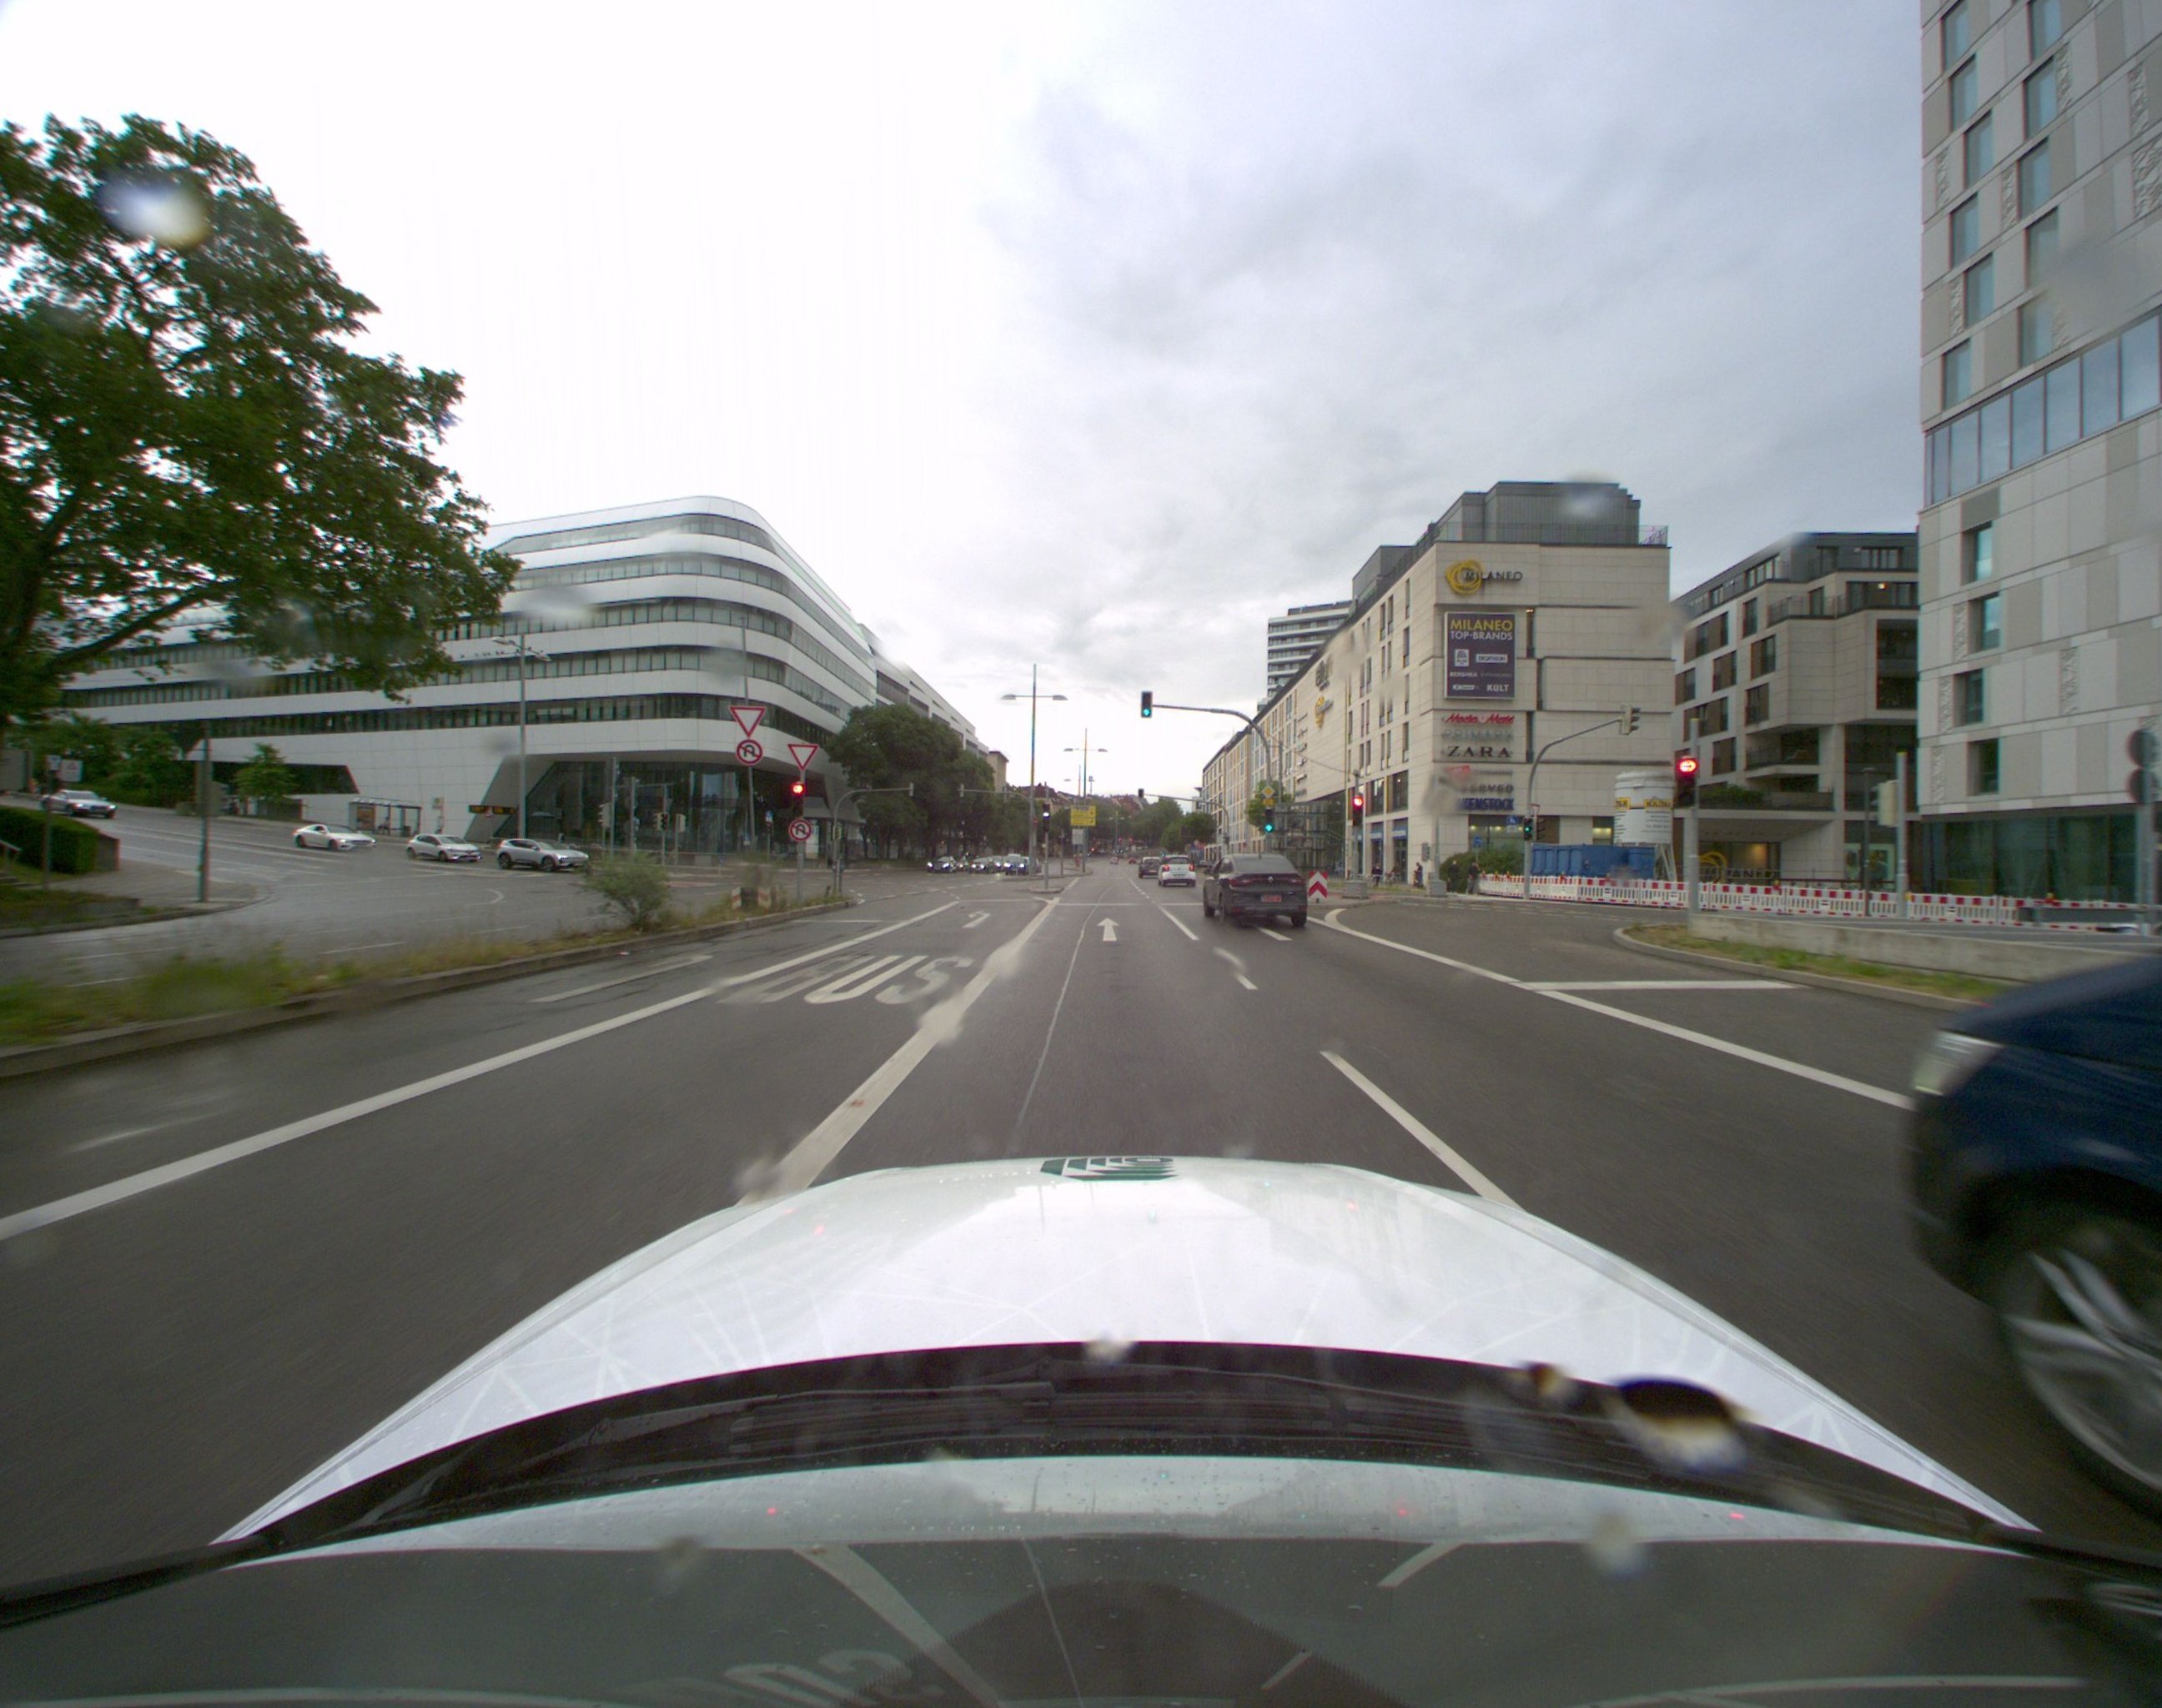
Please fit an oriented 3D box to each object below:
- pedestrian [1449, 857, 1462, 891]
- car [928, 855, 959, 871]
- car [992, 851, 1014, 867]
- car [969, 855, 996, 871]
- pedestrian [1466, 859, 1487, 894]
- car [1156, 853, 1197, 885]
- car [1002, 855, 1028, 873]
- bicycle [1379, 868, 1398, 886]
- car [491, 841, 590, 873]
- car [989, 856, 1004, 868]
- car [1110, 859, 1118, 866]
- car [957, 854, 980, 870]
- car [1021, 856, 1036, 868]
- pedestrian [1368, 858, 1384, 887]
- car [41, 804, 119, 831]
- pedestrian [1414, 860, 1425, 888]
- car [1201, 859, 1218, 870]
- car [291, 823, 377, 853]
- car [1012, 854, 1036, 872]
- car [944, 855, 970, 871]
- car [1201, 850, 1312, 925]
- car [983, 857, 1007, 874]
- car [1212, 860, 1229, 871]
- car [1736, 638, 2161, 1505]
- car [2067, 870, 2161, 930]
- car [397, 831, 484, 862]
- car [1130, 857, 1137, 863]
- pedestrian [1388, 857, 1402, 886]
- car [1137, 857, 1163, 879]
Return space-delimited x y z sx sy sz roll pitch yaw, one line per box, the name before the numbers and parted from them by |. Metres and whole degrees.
pedestrian | 20.056 1.079 43.604 0.588 1.780 0.443 -1 -1 29
car | -11.481 0.775 68.125 1.736 1.328 4.227 0 -1 2
car | -7.756 0.552 81.425 1.736 1.559 3.541 0 -1 2
car | -8.395 0.769 69.687 1.736 1.257 3.542 1 0 2
pedestrian | 19.260 1.080 39.699 0.619 1.672 0.824 0 -1 2
car | 4.738 0.738 40.713 1.717 1.531 3.816 0 -1 2
car | -5.526 0.862 68.421 1.736 1.444 3.396 0 -1 2
bicycle | 17.472 1.283 46.267 0.447 1.016 1.743 0 -1 1
car | -28.190 0.169 42.505 4.465 1.631 1.903 -1 -1 18
car | -12.082 1.145 116.749 1.736 1.748 3.541 0 -1 2
car | 7.870 1.968 194.466 1.734 1.531 3.813 0 0 0
car | -11.366 0.794 82.282 1.736 1.559 3.541 0 -1 2
car | -7.541 1.171 117.688 1.736 1.748 3.541 0 -1 2
pedestrian | 16.597 1.040 45.836 0.610 1.611 0.819 0 -1 2
car | -66.842 -2.424 54.394 3.955 1.631 1.903 2 0 18
pedestrian | 20.439 1.215 49.167 0.588 1.642 0.591 -1 -1 27
car | 16.713 1.427 105.917 1.654 1.400 3.834 0 -1 2
car | -43.330 -0.915 47.263 3.955 1.631 1.903 1 0 18
car | -5.183 0.821 74.200 1.696 1.559 4.246 0 -1 2
car | -11.648 0.870 76.643 1.736 1.424 3.541 0 -1 2
car | 3.896 0.683 18.777 1.784 1.506 4.341 0 0 2
car | -8.064 1.061 76.609 1.736 1.559 3.541 0 -1 2
car | 17.152 1.419 100.215 1.500 1.266 3.504 0 -1 2
car | 3.283 0.472 0.402 2.025 1.882 5.045 -1 1 3
car | 28.303 1.217 20.557 3.949 1.433 1.754 2 0 30
car | -35.616 -0.394 45.326 3.955 1.631 1.903 -1 -1 18
car | 13.289 1.474 207.108 1.733 1.531 3.816 0 -1 2
pedestrian | 17.822 0.988 46.198 0.548 1.611 0.698 0 -1 2
car | 4.870 0.972 57.845 1.733 1.531 3.816 0 -1 2
